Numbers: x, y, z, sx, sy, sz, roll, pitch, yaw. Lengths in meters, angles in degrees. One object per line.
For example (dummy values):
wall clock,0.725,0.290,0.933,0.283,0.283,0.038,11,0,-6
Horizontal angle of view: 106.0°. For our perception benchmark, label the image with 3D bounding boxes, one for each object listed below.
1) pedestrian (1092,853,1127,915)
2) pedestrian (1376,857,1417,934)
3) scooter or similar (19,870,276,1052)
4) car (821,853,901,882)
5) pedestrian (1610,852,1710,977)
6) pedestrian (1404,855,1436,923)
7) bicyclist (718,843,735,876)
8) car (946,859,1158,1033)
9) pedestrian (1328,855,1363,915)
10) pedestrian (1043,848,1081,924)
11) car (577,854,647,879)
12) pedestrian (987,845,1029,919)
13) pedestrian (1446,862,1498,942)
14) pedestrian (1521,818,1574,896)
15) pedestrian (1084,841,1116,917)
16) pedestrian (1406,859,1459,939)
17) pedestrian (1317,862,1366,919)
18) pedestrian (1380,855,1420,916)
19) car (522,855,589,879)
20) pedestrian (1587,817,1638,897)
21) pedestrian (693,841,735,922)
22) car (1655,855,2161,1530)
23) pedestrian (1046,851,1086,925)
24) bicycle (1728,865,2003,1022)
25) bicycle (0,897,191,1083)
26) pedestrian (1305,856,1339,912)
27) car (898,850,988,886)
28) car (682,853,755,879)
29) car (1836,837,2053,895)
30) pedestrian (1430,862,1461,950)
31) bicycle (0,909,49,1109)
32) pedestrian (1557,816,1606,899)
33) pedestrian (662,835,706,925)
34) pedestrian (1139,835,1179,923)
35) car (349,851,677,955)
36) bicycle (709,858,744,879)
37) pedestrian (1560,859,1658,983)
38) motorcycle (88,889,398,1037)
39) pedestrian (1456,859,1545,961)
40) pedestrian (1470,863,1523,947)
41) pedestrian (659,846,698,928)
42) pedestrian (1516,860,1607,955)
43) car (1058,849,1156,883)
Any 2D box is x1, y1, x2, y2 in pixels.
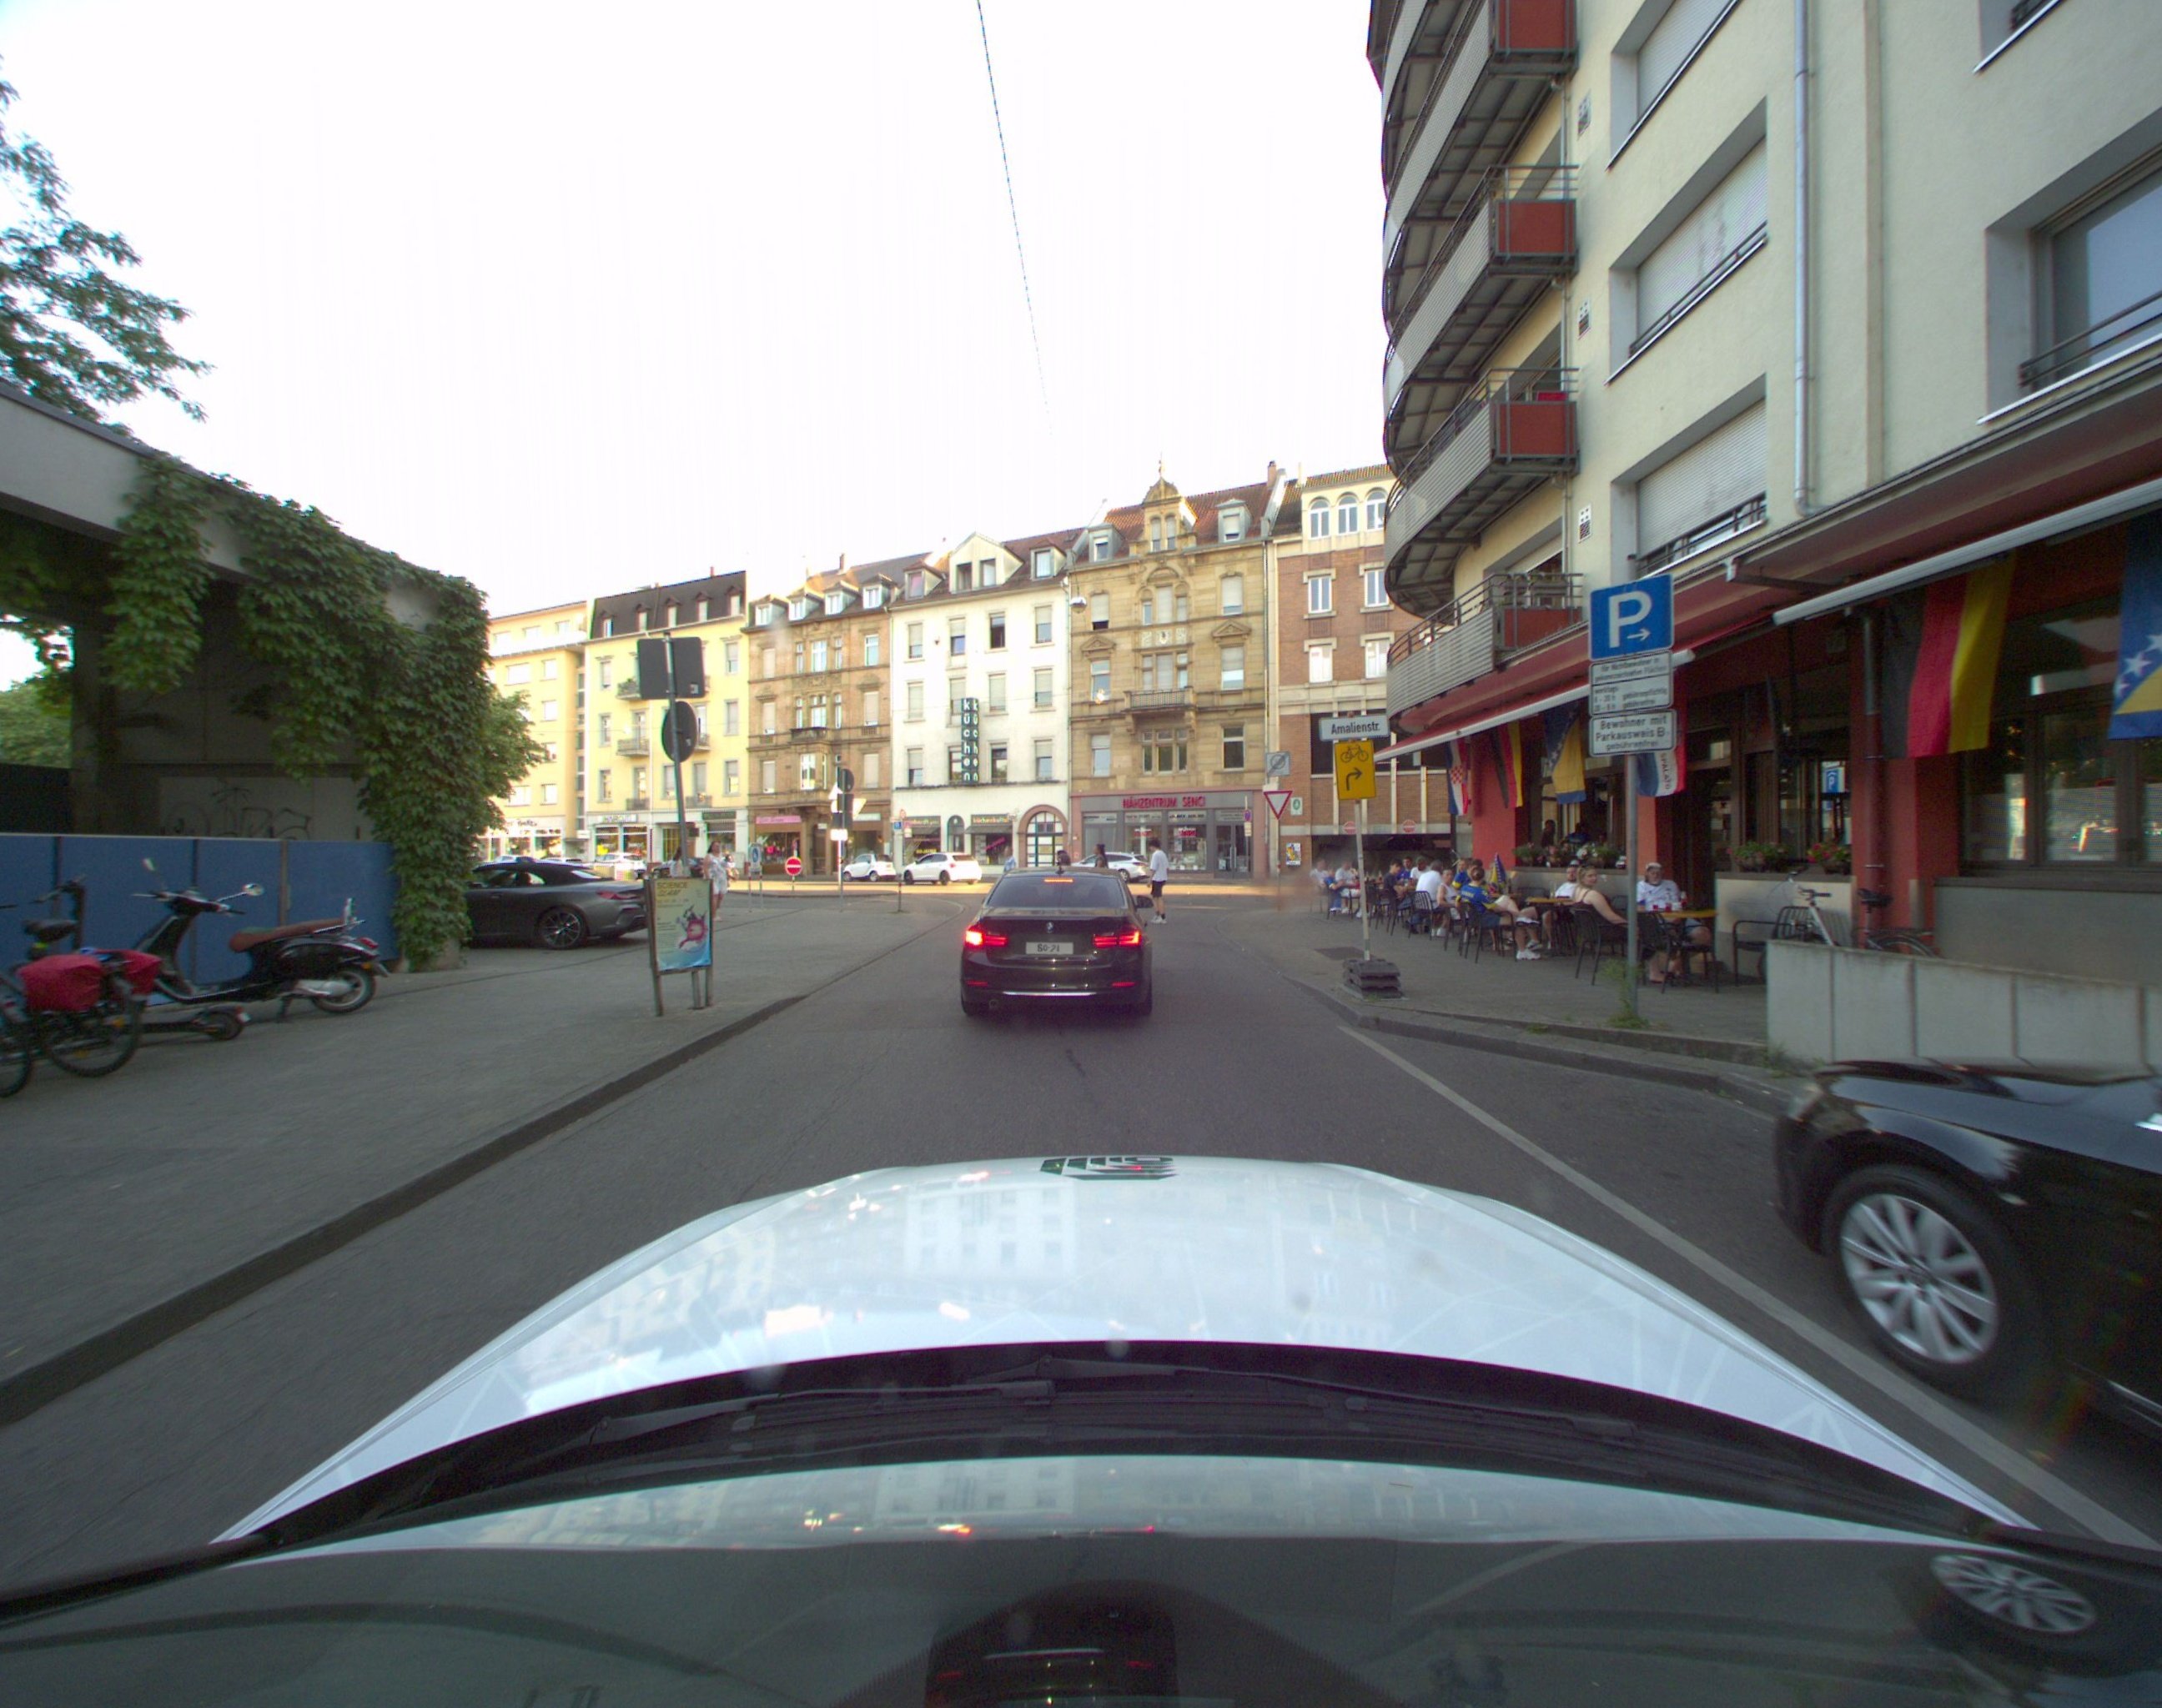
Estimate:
pedestrian,0.689,0.716,19.627,0.812,1.474,0.607,-1,0,4
pedestrian,5.532,0.721,14.308,0.489,1.303,0.418,-3,0,0
scooter or similar,-6.958,0.769,6.123,1.207,1.274,0.420,1,0,-16
car,-12.175,0.760,45.018,3.952,1.510,1.810,-1,-1,22
pedestrian,6.563,0.658,9.258,0.605,1.348,0.696,-2,0,-1
pedestrian,6.575,0.669,15.805,0.486,1.276,0.523,-1,0,13
bicyclist,-19.019,0.301,43.675,0.613,1.756,0.527,0,0,15
car,-0.215,0.784,9.182,1.759,1.375,4.790,0,0,0
pedestrian,5.803,0.676,17.894,0.613,1.284,0.661,-1,0,8
pedestrian,-0.411,0.689,17.796,0.724,1.609,0.648,1,0,-9
car,-29.923,0.805,51.983,3.952,1.510,1.810,-1,-1,22
pedestrian,-1.738,0.657,19.517,0.891,1.725,0.609,1,2,6
pedestrian,6.176,0.746,12.854,0.421,1.201,0.562,-3,0,-42
pedestrian,9.855,0.068,17.205,0.717,1.607,0.682,1,0,-27
pedestrian,0.440,0.573,18.895,0.664,1.746,0.608,-1,0,6
pedestrian,5.871,0.738,13.585,0.631,1.276,0.505,-3,0,-38
pedestrian,5.489,0.763,17.182,0.885,1.149,0.620,-1,0,7
pedestrian,6.910,0.659,17.627,0.611,1.279,0.705,-1,0,37
car,-35.019,0.863,54.311,3.952,1.510,1.810,-1,-1,22
pedestrian,10.988,0.055,16.839,0.692,1.607,0.707,1,0,-42
pedestrian,-8.087,0.593,17.937,0.661,1.746,0.666,-1,0,-42
car,3.318,0.800,1.070,1.759,1.502,4.790,2,0,0
pedestrian,-0.329,0.704,17.120,0.735,1.513,0.648,1,0,-9
bicycle,6.566,0.692,6.967,0.534,1.154,1.740,-2,-2,-4
bicycle,-6.994,0.852,5.307,1.788,1.107,0.500,1,0,-1
pedestrian,5.643,0.693,19.107,0.614,1.254,0.736,-1,0,6
car,-6.221,0.602,36.520,3.949,1.473,1.895,-1,0,42
car,-22.097,0.738,49.679,3.952,1.510,1.810,-1,-1,22
car,25.901,0.363,24.621,4.148,1.625,1.808,-1,-1,18
pedestrian,5.391,0.766,12.062,0.340,1.257,0.362,-3,0,22
bicycle,-6.947,0.860,4.466,1.790,1.107,0.499,1,0,-4
pedestrian,9.925,0.073,16.158,0.533,1.607,0.605,1,0,-21
pedestrian,-8.463,0.552,17.372,0.580,1.882,0.634,-1,0,6
pedestrian,1.708,0.529,17.774,0.692,1.877,0.682,0,0,23
car,-9.165,0.736,13.497,3.985,1.501,1.886,-1,0,-9
bicycle,-19.009,0.749,43.682,1.781,1.107,0.540,0,0,15
pedestrian,5.749,0.712,8.902,0.683,1.286,0.610,-2,-1,9
motorcycle,-7.081,0.876,7.018,1.758,1.101,0.561,1,0,-35
pedestrian,5.515,0.721,10.728,0.856,1.257,0.491,-3,0,0
pedestrian,6.192,0.749,12.146,0.421,1.201,0.531,-3,0,-43
pedestrian,-8.215,0.663,16.637,0.498,1.643,0.521,-1,0,2
pedestrian,6.632,0.717,11.273,0.776,1.223,0.714,-3,0,0
car,1.243,0.607,39.263,4.313,1.562,1.878,-1,-1,22
